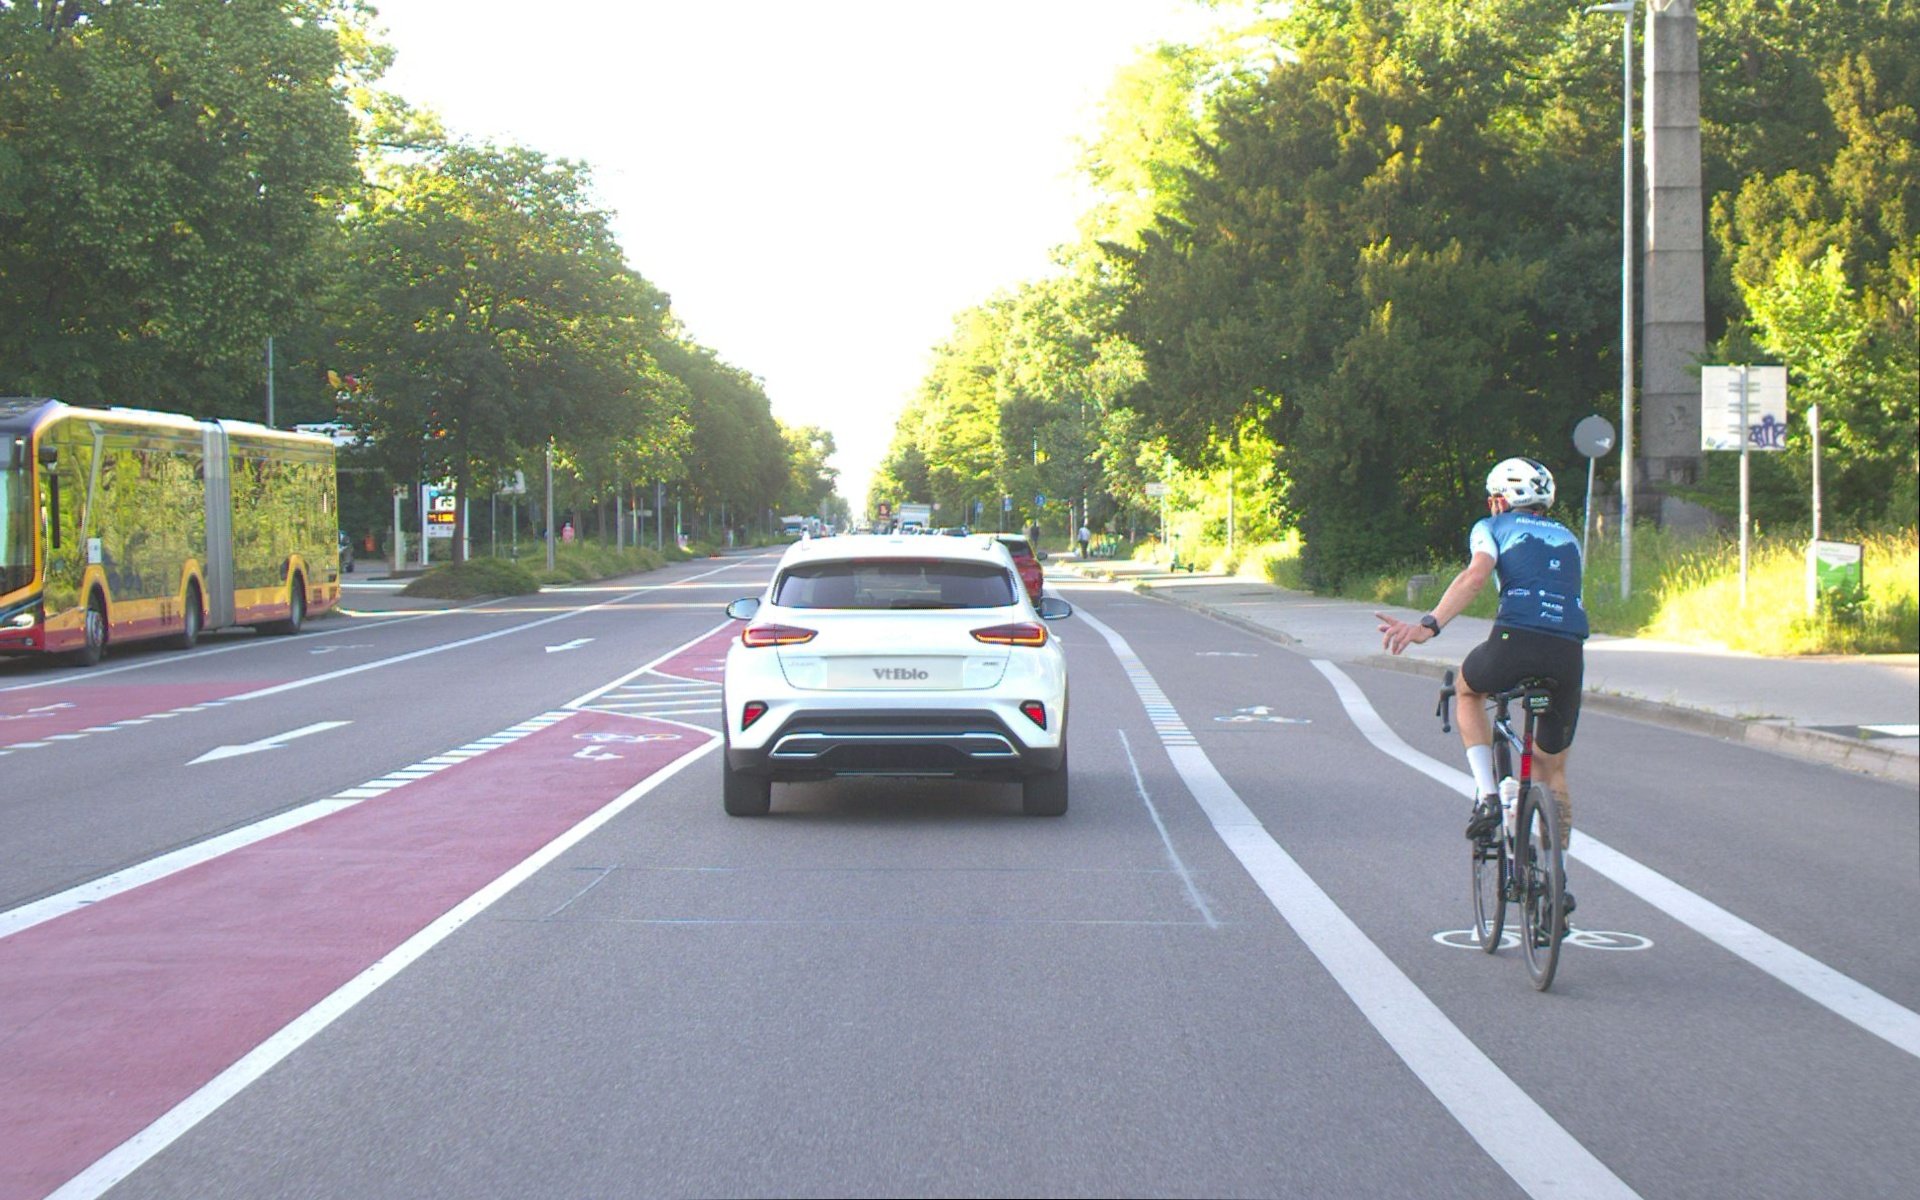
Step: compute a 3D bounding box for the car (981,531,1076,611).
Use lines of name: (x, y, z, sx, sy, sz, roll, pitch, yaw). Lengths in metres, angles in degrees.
car: (1.312, -0.562, 64.459, 1.676, 1.413, 3.574, -1, 1, 2)

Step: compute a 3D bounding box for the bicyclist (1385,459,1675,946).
bicyclist: (1.900, 0.321, 11.587, 0.860, 1.562, 0.881, 1, 1, 4)

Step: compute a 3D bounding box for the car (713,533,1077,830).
car: (-0.458, 0.378, 19.166, 1.761, 1.454, 3.818, 1, 1, -5)

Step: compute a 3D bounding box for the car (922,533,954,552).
car: (-1.624, -4.228, 251.532, 1.993, 1.322, 4.001, -1, 1, -5)

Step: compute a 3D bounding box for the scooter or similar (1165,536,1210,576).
scooter or similar: (7.265, -1.407, 109.879, 1.537, 1.245, 0.534, -2, 1, -44)

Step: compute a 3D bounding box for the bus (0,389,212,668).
bus: (-11.954, -0.891, 43.715, 2.840, 3.186, 8.600, -1, 1, 1)

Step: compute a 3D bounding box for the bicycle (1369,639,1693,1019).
bicycle: (1.901, 0.724, 11.765, 0.891, 1.091, 2.136, 1, 1, 4)

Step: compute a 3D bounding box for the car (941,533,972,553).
car: (-0.234, -3.920, 235.849, 1.993, 1.322, 4.000, -1, 1, -2)

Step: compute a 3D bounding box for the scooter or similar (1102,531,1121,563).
scooter or similar: (6.761, -2.359, 153.492, 0.682, 1.418, 1.682, -1, 1, -1)

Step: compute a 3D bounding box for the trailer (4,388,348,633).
trailer: (-11.773, -1.326, 52.649, 2.855, 3.344, 9.362, 1, 1, 1)

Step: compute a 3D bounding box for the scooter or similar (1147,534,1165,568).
scooter or similar: (7.291, -1.836, 127.731, 0.533, 1.245, 1.541, -1, 1, -1)
